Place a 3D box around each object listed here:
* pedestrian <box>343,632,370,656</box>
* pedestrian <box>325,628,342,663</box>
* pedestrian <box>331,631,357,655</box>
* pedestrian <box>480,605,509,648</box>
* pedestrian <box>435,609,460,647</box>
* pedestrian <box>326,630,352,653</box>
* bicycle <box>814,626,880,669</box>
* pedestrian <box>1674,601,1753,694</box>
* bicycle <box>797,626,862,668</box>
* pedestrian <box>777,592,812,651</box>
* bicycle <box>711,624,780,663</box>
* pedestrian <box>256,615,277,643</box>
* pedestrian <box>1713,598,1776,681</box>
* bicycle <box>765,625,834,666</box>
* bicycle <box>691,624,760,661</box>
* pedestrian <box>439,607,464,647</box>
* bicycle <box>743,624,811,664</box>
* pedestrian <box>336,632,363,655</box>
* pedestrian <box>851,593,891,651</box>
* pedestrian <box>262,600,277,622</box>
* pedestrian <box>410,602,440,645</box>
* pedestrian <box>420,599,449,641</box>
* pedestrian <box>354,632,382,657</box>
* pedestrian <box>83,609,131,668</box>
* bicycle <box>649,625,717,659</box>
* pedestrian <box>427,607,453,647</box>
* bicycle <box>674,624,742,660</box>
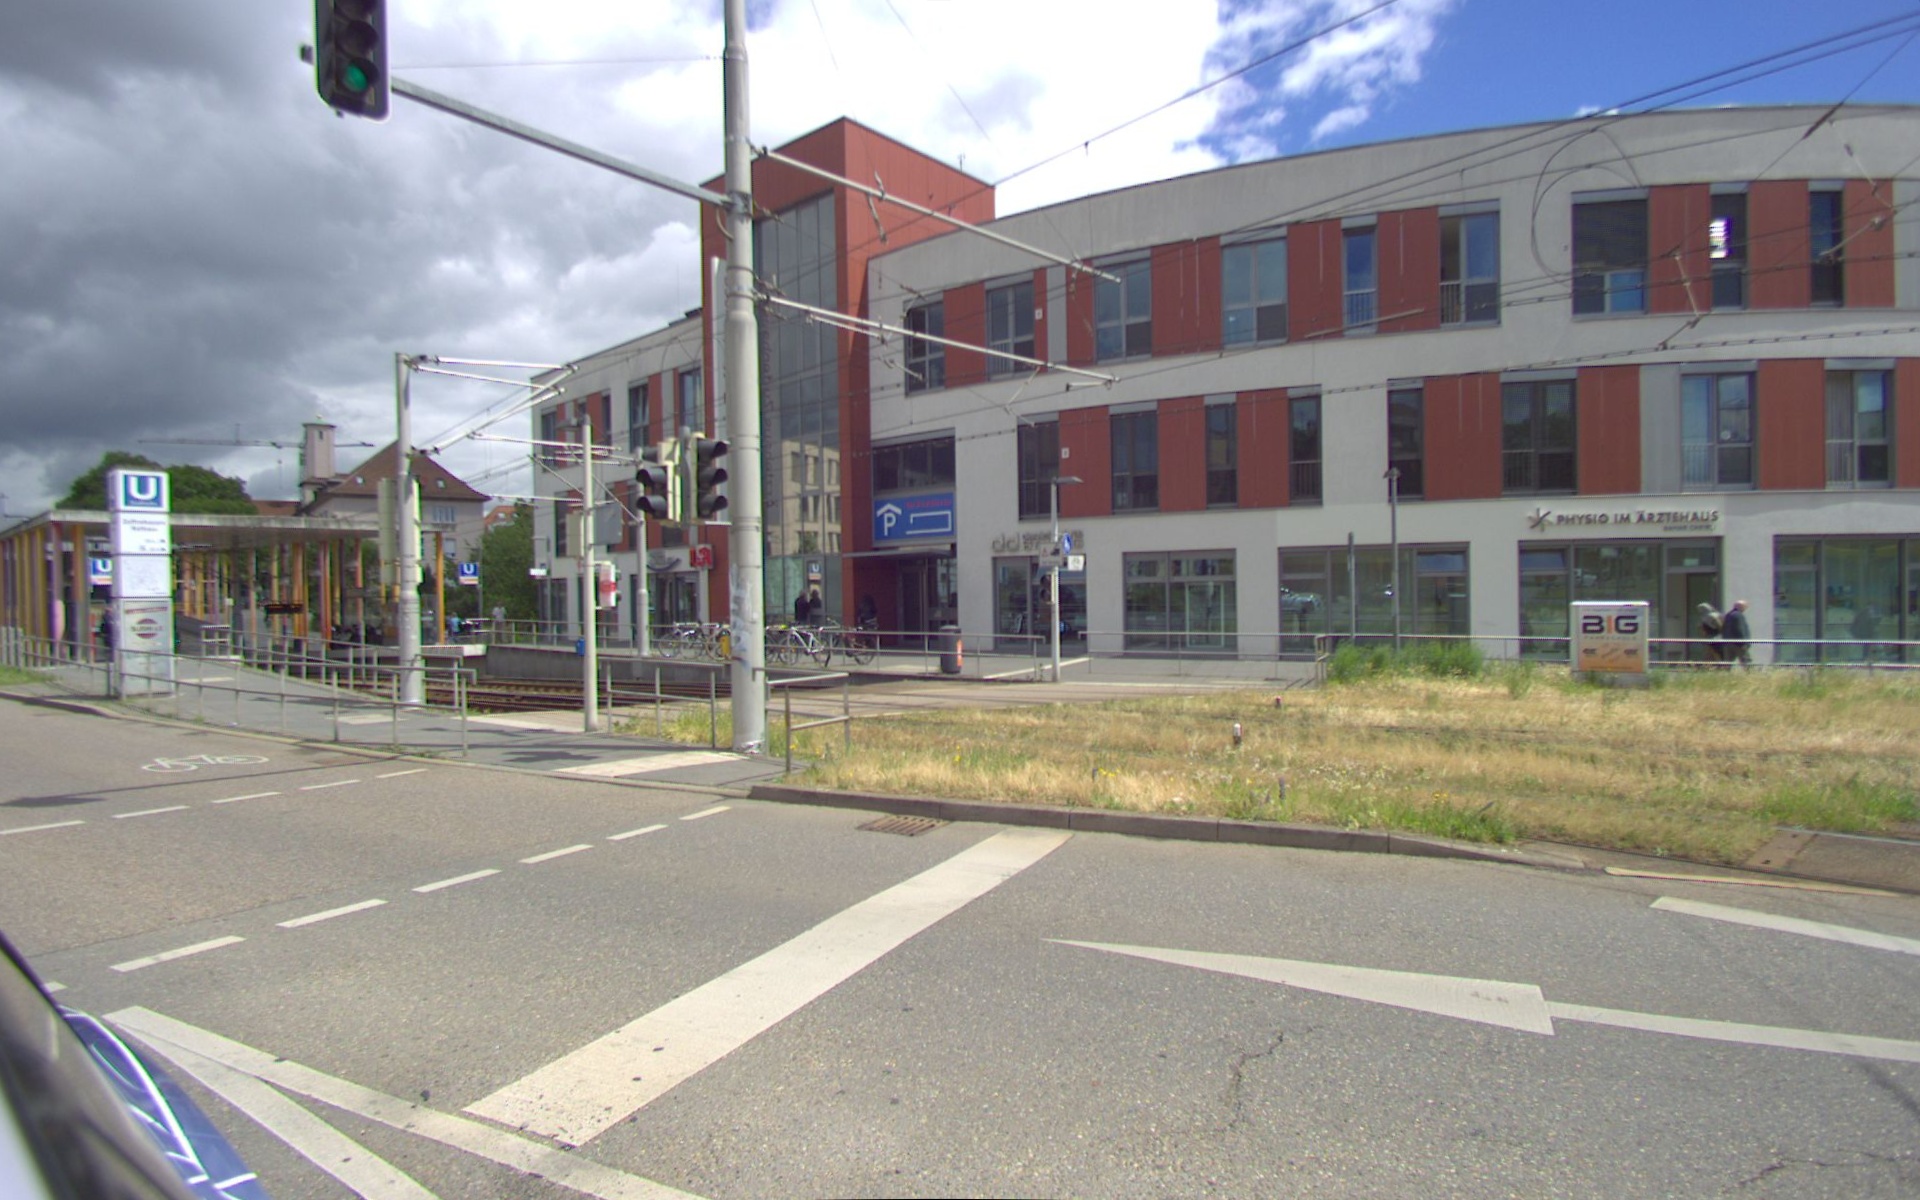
[{"bbox_3d":[-29.401,2.136,49.274,0.886,1.143,0.931,-2,-1,42],"label":"pedestrian"},{"bbox_3d":[-36.379,2.625,58.761,0.761,2.029,0.616,-2,-1,34],"label":"pedestrian"},{"bbox_3d":[-30.808,2.143,50.627,0.886,1.143,0.931,-2,-1,42],"label":"pedestrian"},{"bbox_3d":[-21.398,1.206,46.504,1.106,1.983,0.852,0,-1,43],"label":"pedestrian"},{"bbox_3d":[-27.100,1.477,53.529,0.852,1.983,1.107,1,-1,-44],"label":"pedestrian"},{"bbox_3d":[-31.534,2.120,51.412,0.886,1.143,0.931,-2,-1,42],"label":"pedestrian"},{"bbox_3d":[-2.741,1.141,24.677,0.428,0.959,1.716,-1,0,43],"label":"bicycle"},{"bbox_3d":[16.502,1.026,22.182,1.104,1.983,0.862,0,-1,10],"label":"pedestrian"},{"bbox_3d":[-3.229,1.140,25.080,0.428,0.965,1.716,-1,0,43],"label":"bicycle"},{"bbox_3d":[-5.316,0.668,32.487,0.856,1.859,0.876,0,1,13],"label":"pedestrian"},{"bbox_3d":[-5.701,1.141,26.990,1.836,0.946,0.455,0,0,-45],"label":"bicycle"},{"bbox_3d":[-50.950,2.094,74.331,1.112,2.029,1.180,0,-2,-44],"label":"pedestrian"},{"bbox_3d":[15.270,0.761,19.719,0.684,1.592,0.733,-1,-1,11],"label":"pedestrian"},{"bbox_3d":[-4.060,1.140,25.707,0.454,0.942,1.837,-1,0,43],"label":"bicycle"},{"bbox_3d":[-6.374,1.154,27.590,1.835,0.929,0.455,0,0,-42],"label":"bicycle"},{"bbox_3d":[-25.968,1.372,51.654,0.852,1.983,1.107,1,-1,-44],"label":"pedestrian"},{"bbox_3d":[-4.743,1.130,26.342,0.454,0.970,1.837,-1,0,43],"label":"bicycle"},{"bbox_3d":[-30.118,2.139,49.909,0.886,1.143,0.931,-2,-1,42],"label":"pedestrian"},{"bbox_3d":[-2.701,0.660,30.675,0.921,1.711,0.790,1,-1,-41],"label":"pedestrian"},{"bbox_3d":[-64.908,1.007,95.136,1.108,2.029,1.664,0,-1,-36],"label":"pedestrian"},{"bbox_3d":[-25.119,1.091,47.519,1.105,1.983,0.853,0,-1,39],"label":"pedestrian"},{"bbox_3d":[-24.932,0.953,48.027,1.105,1.983,0.853,0,-1,39],"label":"pedestrian"},{"bbox_3d":[-28.552,2.136,48.799,0.886,1.143,0.931,-2,-1,42],"label":"pedestrian"},{"bbox_3d":[-28.272,1.264,33.544,0.864,1.929,1.090,0,-1,42],"label":"pedestrian"},{"bbox_3d":[-7.879,1.193,28.837,1.834,0.888,0.455,0,0,-41],"label":"bicycle"},{"bbox_3d":[-26.320,1.350,51.235,0.852,1.983,1.107,1,-1,-44],"label":"pedestrian"},{"bbox_3d":[-6.986,1.157,28.149,1.835,0.939,0.455,0,0,-41],"label":"bicycle"}]
